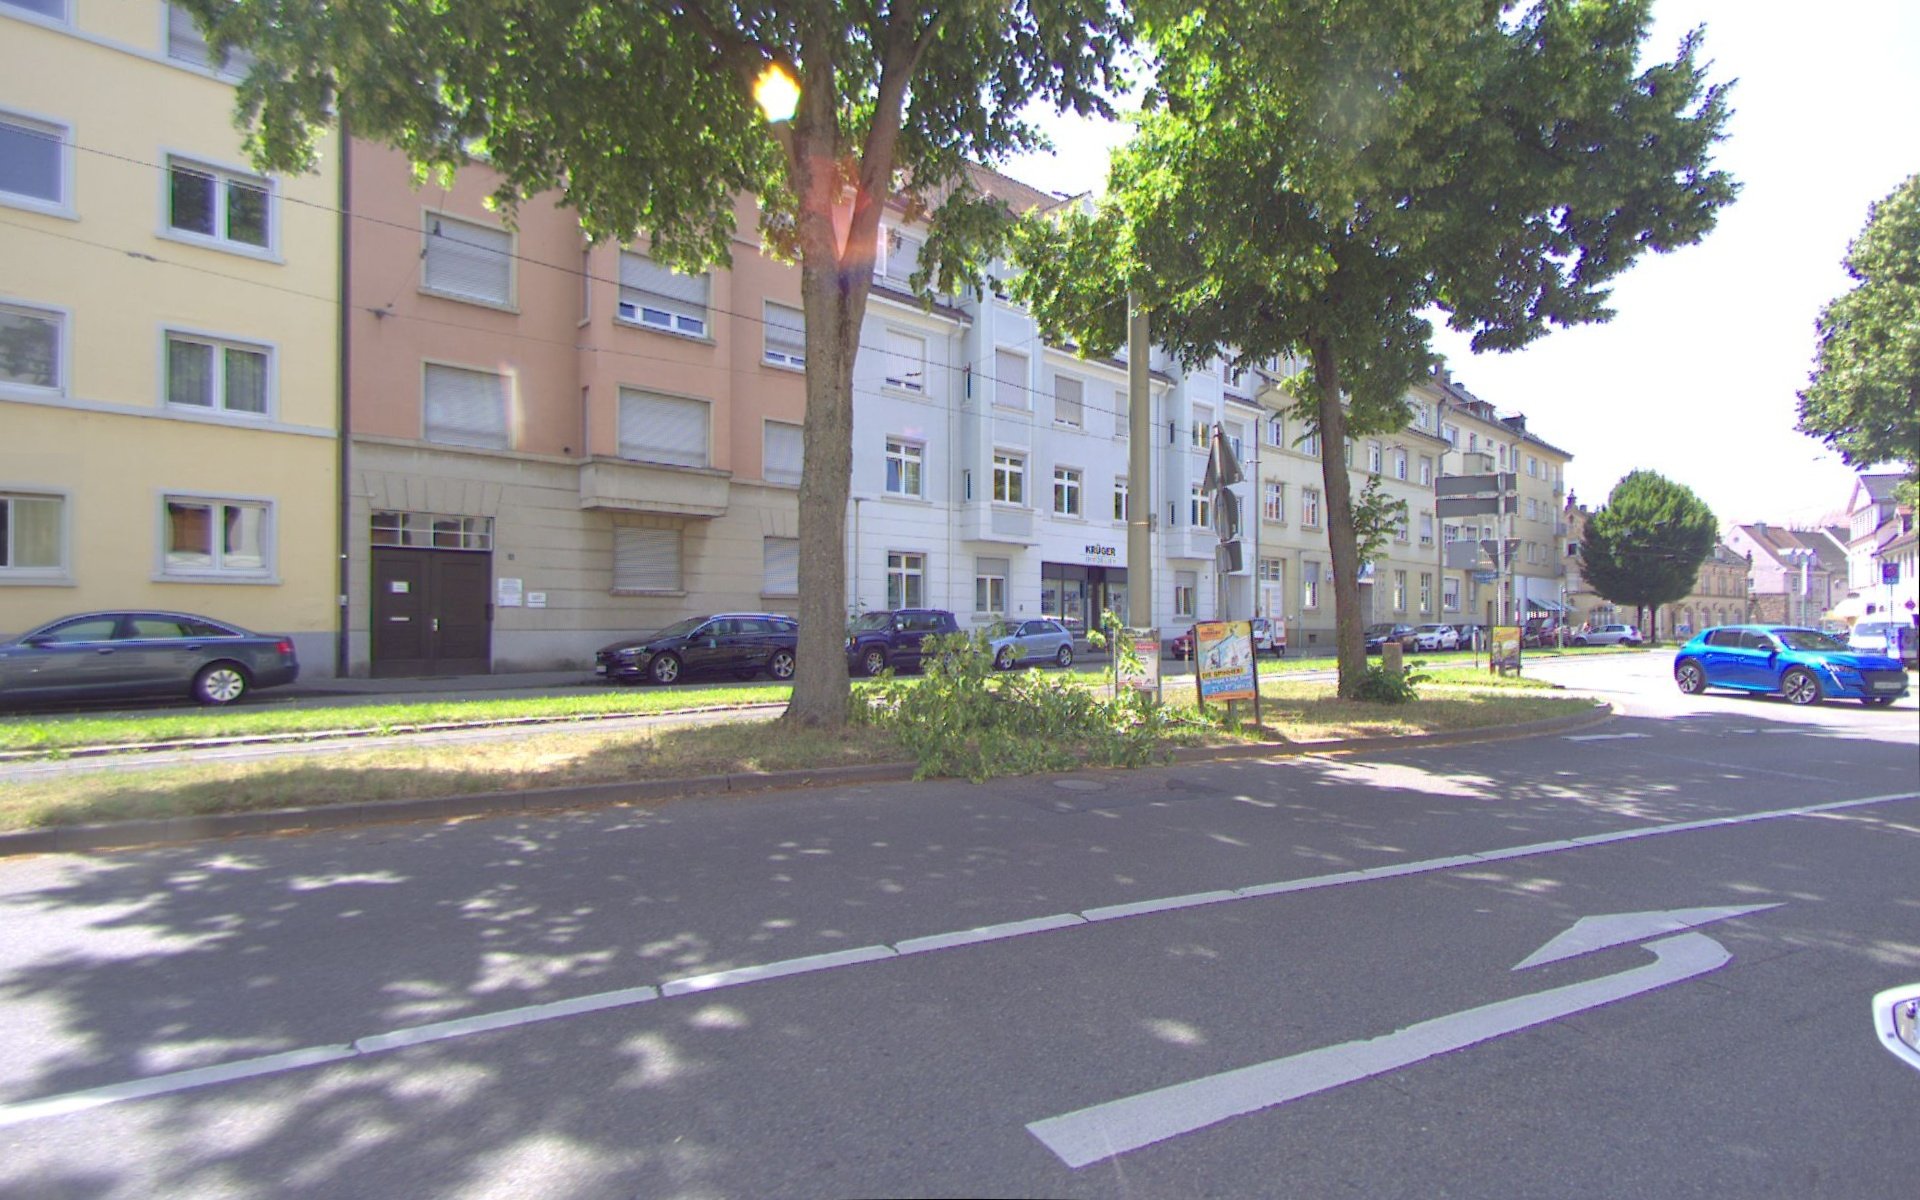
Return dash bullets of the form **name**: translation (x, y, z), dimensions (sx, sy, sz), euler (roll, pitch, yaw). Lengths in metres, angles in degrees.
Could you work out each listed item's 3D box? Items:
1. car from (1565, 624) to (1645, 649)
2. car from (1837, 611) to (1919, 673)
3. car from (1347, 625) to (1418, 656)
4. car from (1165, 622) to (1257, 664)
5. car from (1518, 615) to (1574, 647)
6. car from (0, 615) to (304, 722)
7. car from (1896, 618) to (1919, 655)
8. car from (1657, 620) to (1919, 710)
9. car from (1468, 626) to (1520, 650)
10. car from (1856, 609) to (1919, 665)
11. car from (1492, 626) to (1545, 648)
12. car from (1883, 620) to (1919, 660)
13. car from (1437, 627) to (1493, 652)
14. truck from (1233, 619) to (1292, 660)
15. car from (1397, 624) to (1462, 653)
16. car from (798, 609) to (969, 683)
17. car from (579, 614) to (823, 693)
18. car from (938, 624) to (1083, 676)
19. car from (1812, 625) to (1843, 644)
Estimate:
- **car**: translation (42.607, 2.413, 66.393), dimensions (4.157, 1.524, 1.993), euler (-3, -3, 43)
- **car**: translation (29.892, 1.303, 32.512), dimensions (4.393, 1.850, 1.974), euler (1, -1, -45)
- **car**: translation (19.702, 1.853, 46.803), dimensions (3.832, 1.378, 1.670), euler (1, -3, -44)
- **car**: translation (9.078, 1.534, 36.194), dimensions (3.601, 1.470, 1.556), euler (1, -3, -44)
- **car**: translation (37.184, 1.974, 63.735), dimensions (4.739, 1.936, 1.835), euler (1, -3, -44)
- **car**: translation (-12.607, 0.958, 14.687), dimensions (4.828, 1.416, 1.910), euler (1, -3, -43)
- **car**: translation (46.313, 1.718, 48.184), dimensions (4.170, 1.716, 1.766), euler (1, -1, -43)
- **car**: translation (15.969, 1.185, 19.600), dimensions (1.780, 1.512, 3.998), euler (0, 0, -4)
- **car**: translation (30.442, 2.162, 57.274), dimensions (3.562, 1.294, 1.586), euler (1, -3, -44)
- **car**: translation (35.840, 1.373, 38.284), dimensions (5.211, 2.029, 2.030), euler (1, -1, -43)
- **car**: translation (33.574, 2.207, 60.313), dimensions (4.236, 1.294, 1.625), euler (1, -3, -44)
- **car**: translation (41.247, 1.687, 43.318), dimensions (4.453, 1.645, 1.766), euler (1, -1, -43)
- **car**: translation (27.164, 2.099, 54.002), dimensions (3.266, 1.294, 1.670), euler (1, -3, -44)
- **truck**: translation (11.813, 1.535, 39.221), dimensions (1.114, 1.514, 2.578), euler (-3, -3, 45)
- **car**: translation (23.663, 1.923, 50.570), dimensions (3.832, 1.408, 1.670), euler (1, -3, -44)
- **car**: translation (-1.863, 1.135, 25.409), dimensions (4.115, 1.707, 1.818), euler (1, -3, -44)
- **car**: translation (-5.489, 1.108, 21.732), dimensions (4.830, 1.510, 1.909), euler (1, -3, -44)
- **car**: translation (1.506, 1.393, 28.781), dimensions (4.222, 1.374, 1.789), euler (1, -3, -44)
- **car**: translation (71.804, 2.871, 83.170), dimensions (1.838, 1.506, 3.982), euler (0, -1, 39)
